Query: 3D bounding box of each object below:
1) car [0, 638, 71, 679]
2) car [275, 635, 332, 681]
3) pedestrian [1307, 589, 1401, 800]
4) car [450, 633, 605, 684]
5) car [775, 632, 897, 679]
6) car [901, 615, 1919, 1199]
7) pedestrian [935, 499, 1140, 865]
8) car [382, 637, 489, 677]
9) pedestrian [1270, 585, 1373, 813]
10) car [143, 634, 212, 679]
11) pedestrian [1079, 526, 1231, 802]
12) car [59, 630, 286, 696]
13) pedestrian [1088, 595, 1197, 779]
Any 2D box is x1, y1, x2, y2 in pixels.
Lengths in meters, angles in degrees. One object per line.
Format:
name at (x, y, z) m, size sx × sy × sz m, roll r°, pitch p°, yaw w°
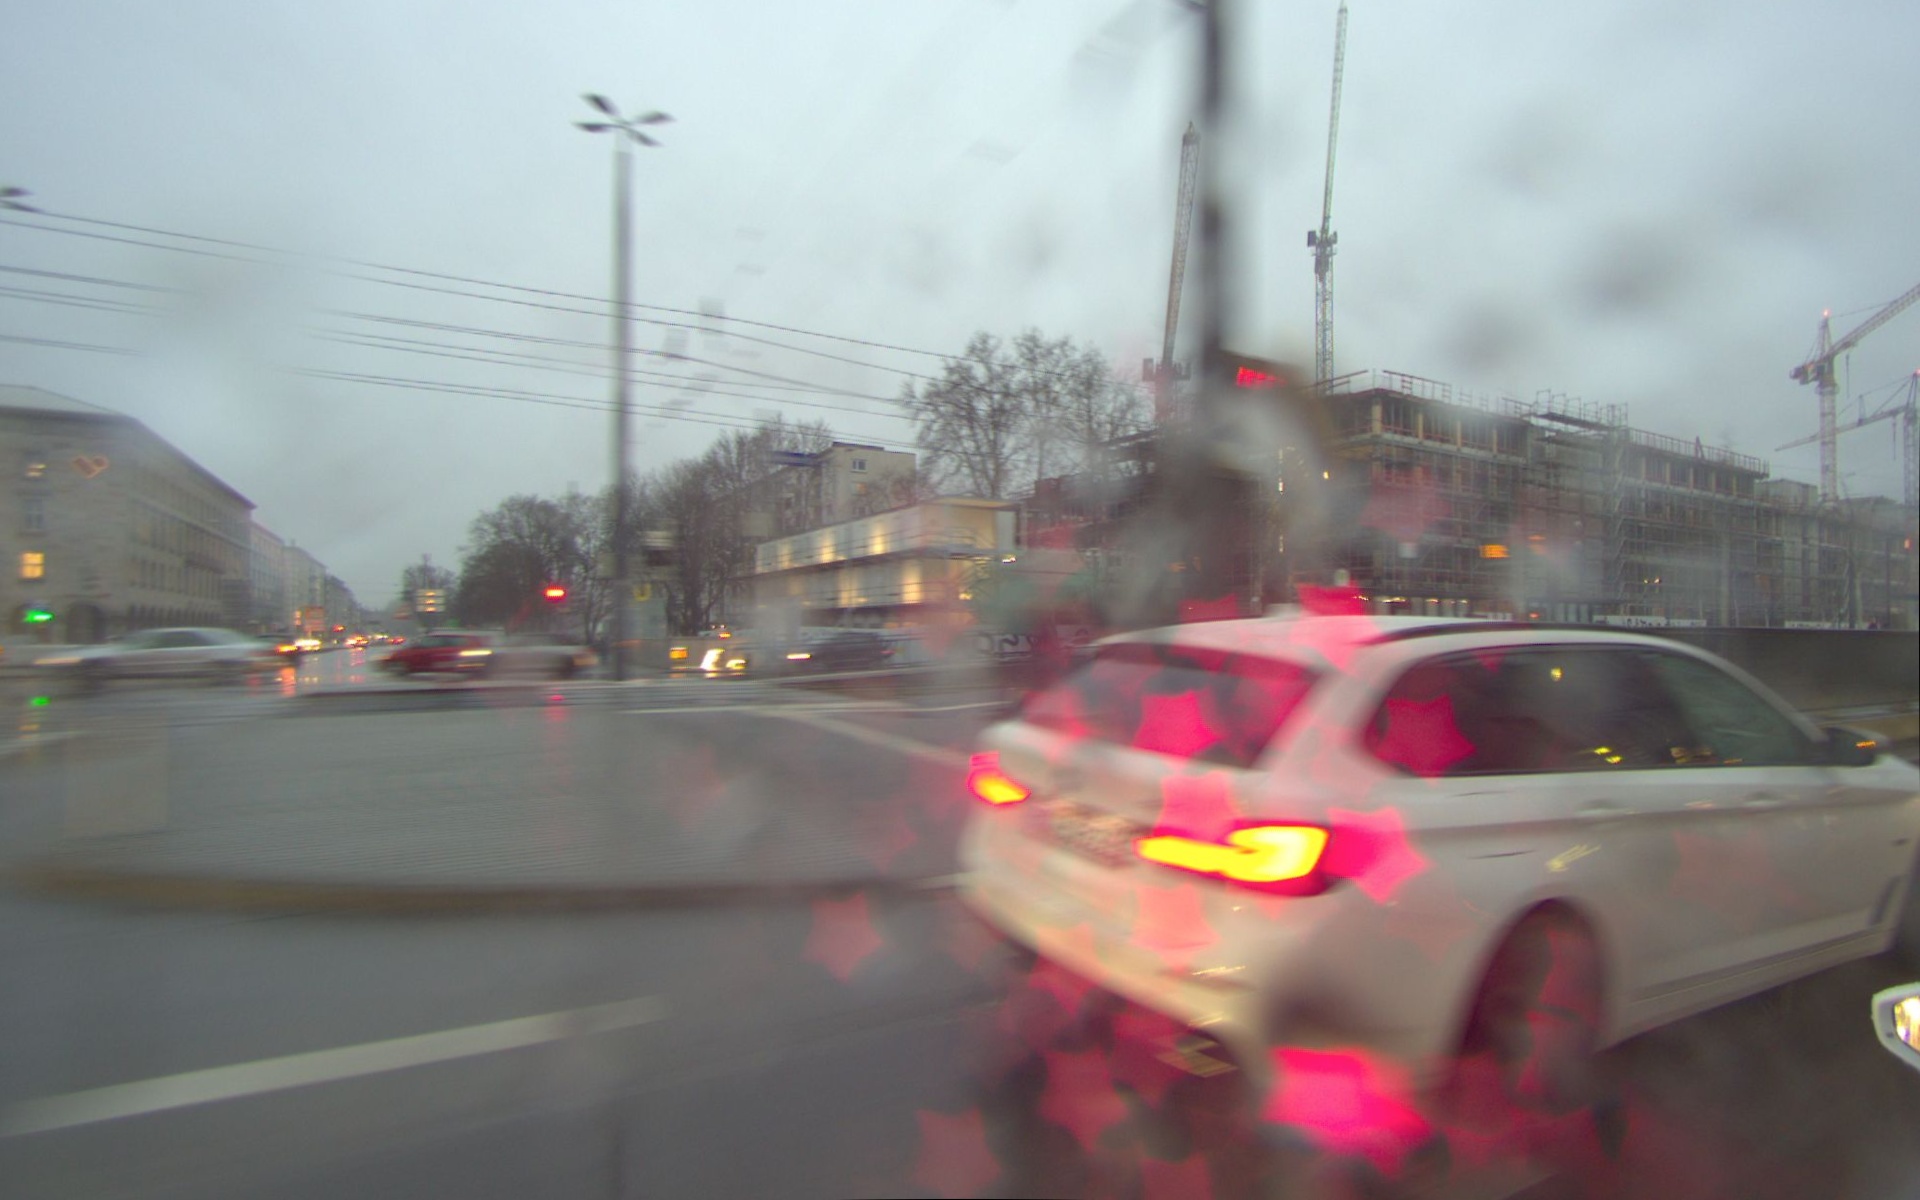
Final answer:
car at (-48.049, 3.000, 52.036) m, size 1.975 × 1.904 × 4.408 m, roll 1°, pitch -1°, yaw -28°
car at (-29.545, 2.563, 45.314) m, size 1.735 × 1.904 × 4.167 m, roll 1°, pitch -1°, yaw -28°
pedestrian at (3.446, 0.786, 8.765) m, size 0.642 × 1.740 × 0.749 m, roll 0°, pitch -1°, yaw 31°
car at (-13.809, 1.826, 32.148) m, size 4.228 × 1.479 × 1.979 m, roll 2°, pitch -1°, yaw -37°
car at (-4.644, 2.060, 37.830) m, size 4.193 × 1.637 × 1.860 m, roll 2°, pitch -1°, yaw -37°
car at (2.351, 0.844, 4.239) m, size 4.886 × 1.485 × 1.844 m, roll 1°, pitch -1°, yaw -29°
pedestrian at (0.516, 0.498, 6.654) m, size 1.011 × 2.174 × 0.894 m, roll 1°, pitch -1°, yaw -44°
car at (-18.104, 1.959, 34.784) m, size 3.114 × 1.291 × 1.443 m, roll 1°, pitch -1°, yaw -22°
pedestrian at (2.935, 0.783, 8.200) m, size 0.593 × 1.758 × 0.668 m, roll 2°, pitch -1°, yaw 4°
car at (-32.482, 2.299, 41.768) m, size 1.651 × 1.742 × 3.576 m, roll 1°, pitch -1°, yaw -28°
pedestrian at (1.728, 0.524, 8.826) m, size 1.034 × 2.237 × 0.956 m, roll 0°, pitch -1°, yaw 31°
car at (-19.956, 1.540, 25.602) m, size 4.406 × 1.500 × 1.976 m, roll 2°, pitch -1°, yaw -41°
pedestrian at (1.840, 0.833, 10.085) m, size 0.846 × 1.737 × 0.763 m, roll 0°, pitch -1°, yaw 31°
